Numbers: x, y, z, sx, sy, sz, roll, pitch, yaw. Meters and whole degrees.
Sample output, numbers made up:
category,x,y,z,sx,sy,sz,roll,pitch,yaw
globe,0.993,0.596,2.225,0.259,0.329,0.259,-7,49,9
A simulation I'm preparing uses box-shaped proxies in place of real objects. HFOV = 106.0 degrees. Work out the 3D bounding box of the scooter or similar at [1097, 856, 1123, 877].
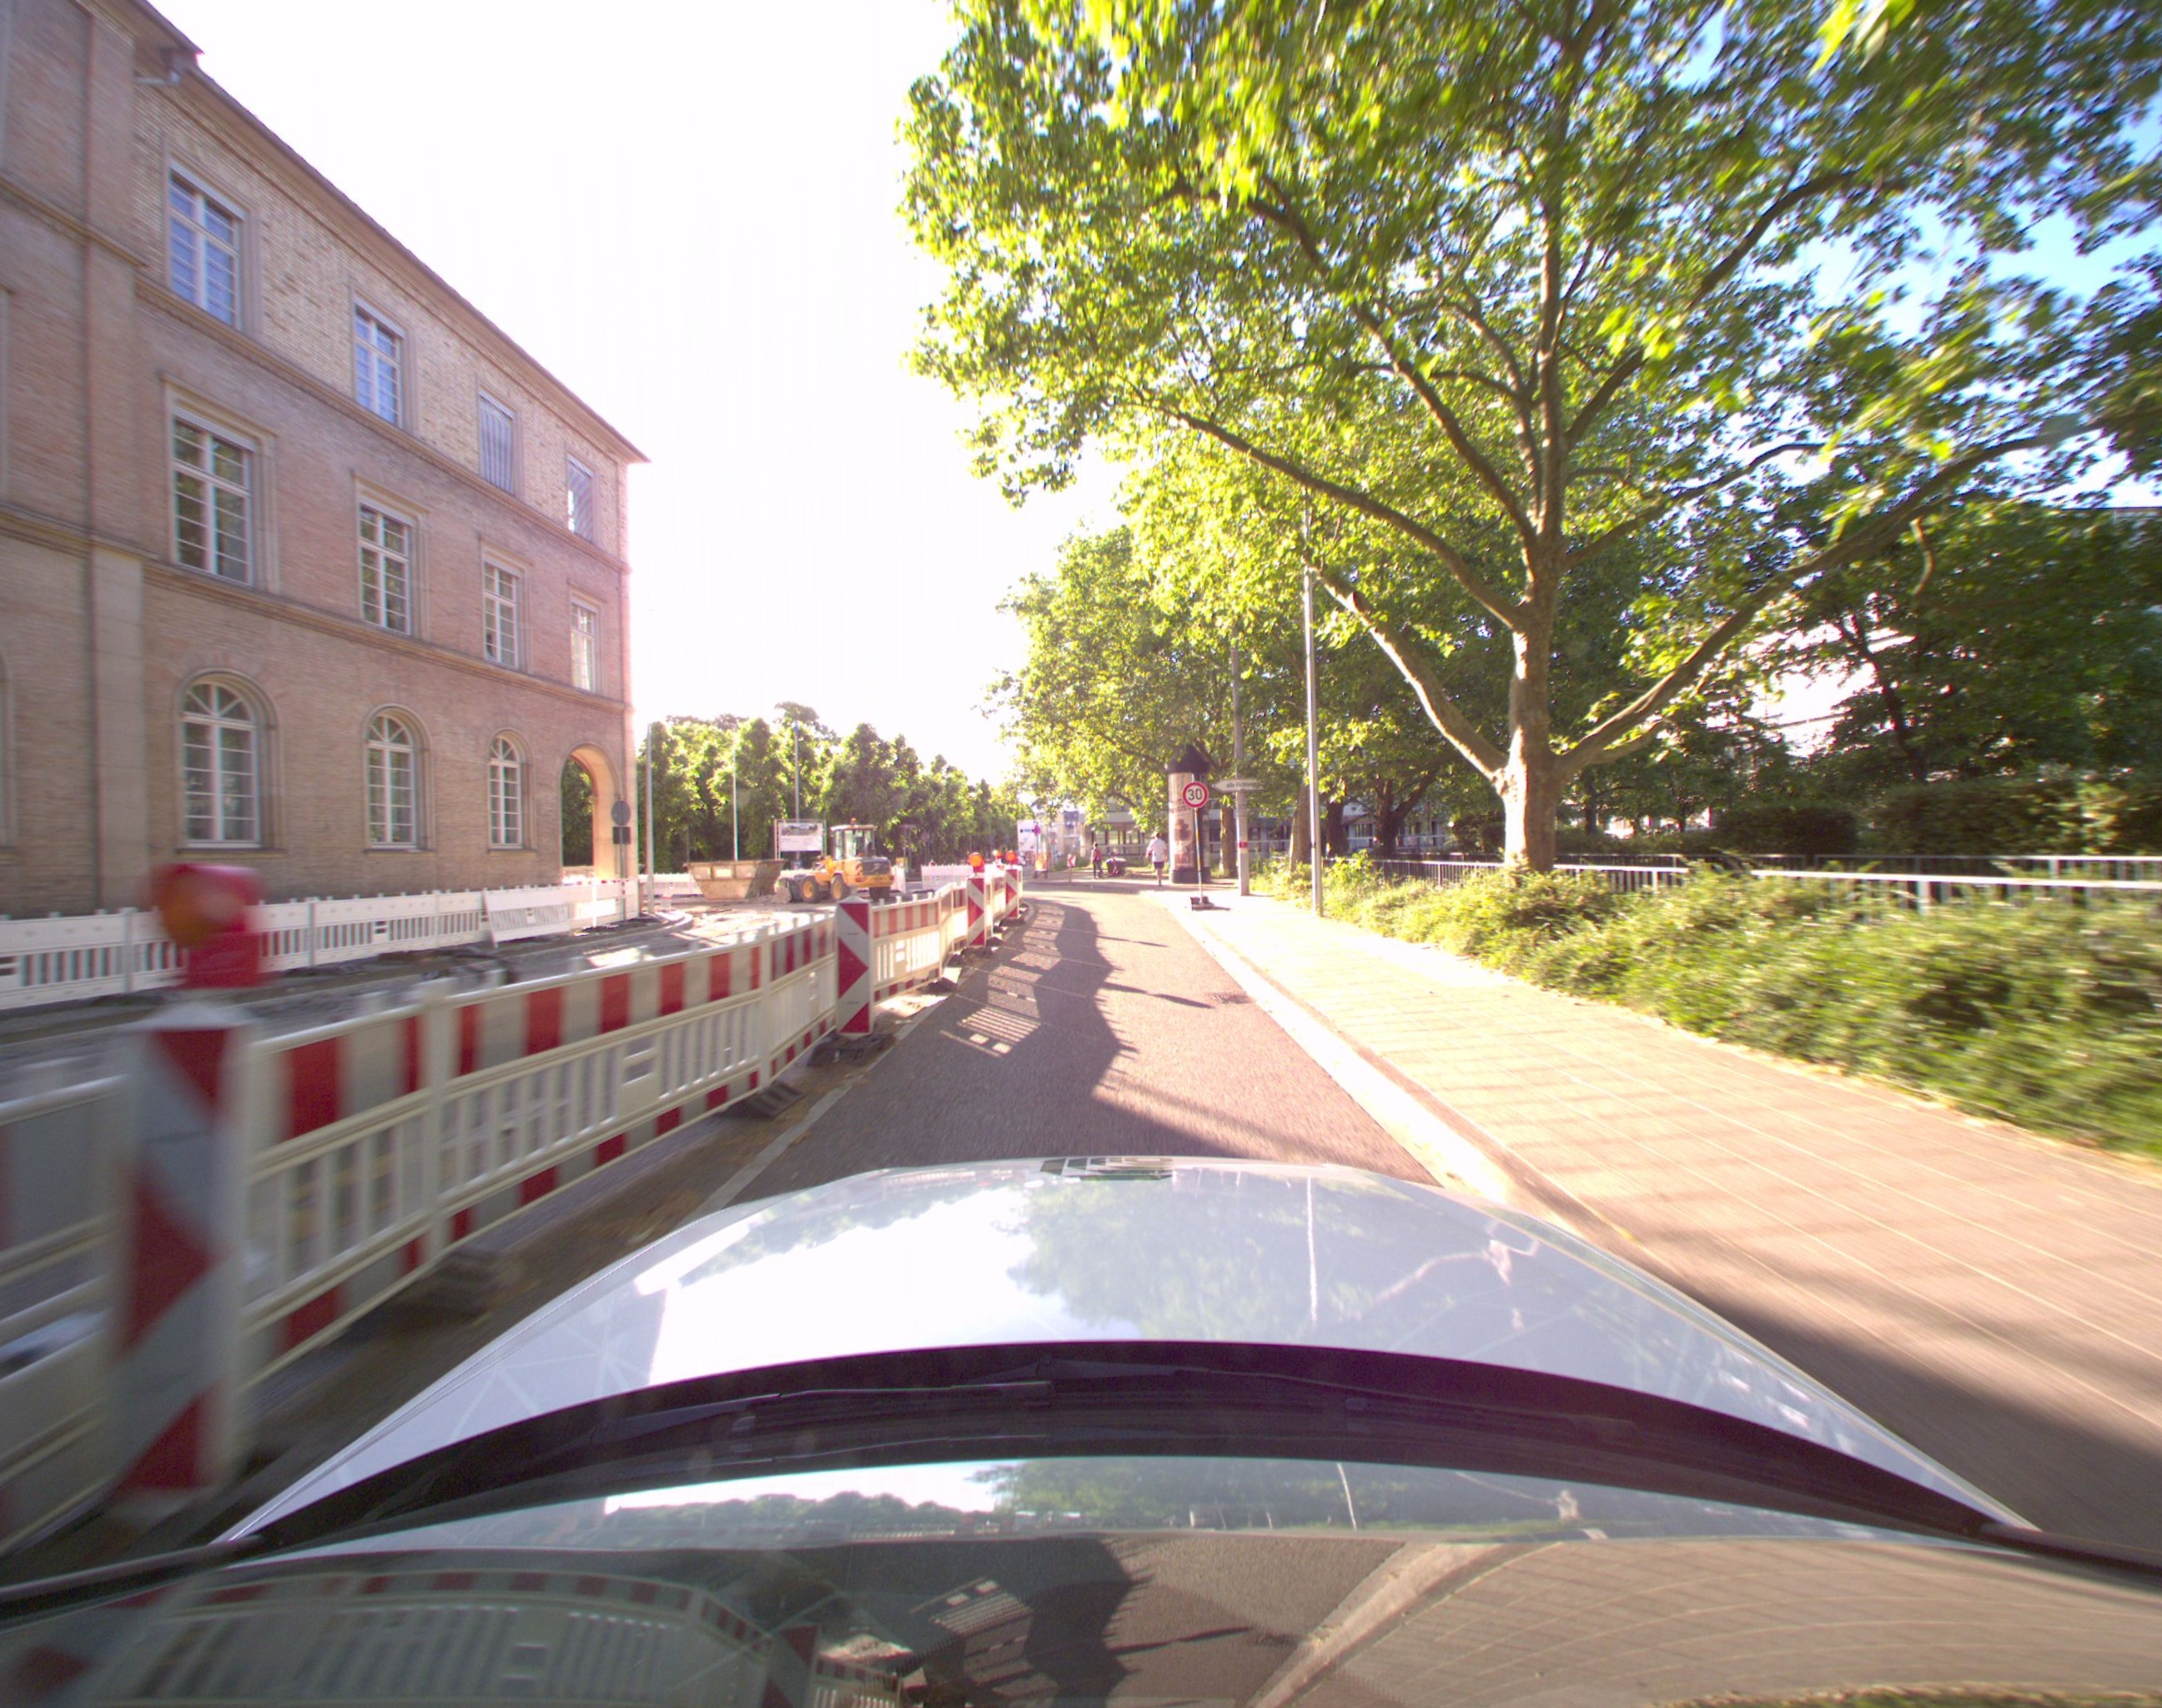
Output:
category,x,y,z,sx,sy,sz,roll,pitch,yaw
scooter or similar,1.356,0.578,38.460,1.145,0.914,0.418,-3,-1,-7

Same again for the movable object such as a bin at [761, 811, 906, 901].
category,x,y,z,sx,sy,sz,roll,pitch,yaw
movable object such as a bin,-9.279,0.104,30.180,5.857,3.031,2.582,-2,0,45

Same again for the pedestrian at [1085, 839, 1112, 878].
category,x,y,z,sx,sy,sz,roll,pitch,yaw
pedestrian,0.743,0.186,35.083,0.713,1.623,0.930,-1,-1,-30

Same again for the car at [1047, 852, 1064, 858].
category,x,y,z,sx,sy,sz,roll,pitch,yaw
car,-6.956,0.258,225.296,4.543,1.790,2.000,-1,0,-1

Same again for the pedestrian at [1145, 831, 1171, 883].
category,x,y,z,sx,sy,sz,roll,pitch,yaw
pedestrian,2.717,0.099,28.764,0.743,1.812,1.132,0,1,-4
